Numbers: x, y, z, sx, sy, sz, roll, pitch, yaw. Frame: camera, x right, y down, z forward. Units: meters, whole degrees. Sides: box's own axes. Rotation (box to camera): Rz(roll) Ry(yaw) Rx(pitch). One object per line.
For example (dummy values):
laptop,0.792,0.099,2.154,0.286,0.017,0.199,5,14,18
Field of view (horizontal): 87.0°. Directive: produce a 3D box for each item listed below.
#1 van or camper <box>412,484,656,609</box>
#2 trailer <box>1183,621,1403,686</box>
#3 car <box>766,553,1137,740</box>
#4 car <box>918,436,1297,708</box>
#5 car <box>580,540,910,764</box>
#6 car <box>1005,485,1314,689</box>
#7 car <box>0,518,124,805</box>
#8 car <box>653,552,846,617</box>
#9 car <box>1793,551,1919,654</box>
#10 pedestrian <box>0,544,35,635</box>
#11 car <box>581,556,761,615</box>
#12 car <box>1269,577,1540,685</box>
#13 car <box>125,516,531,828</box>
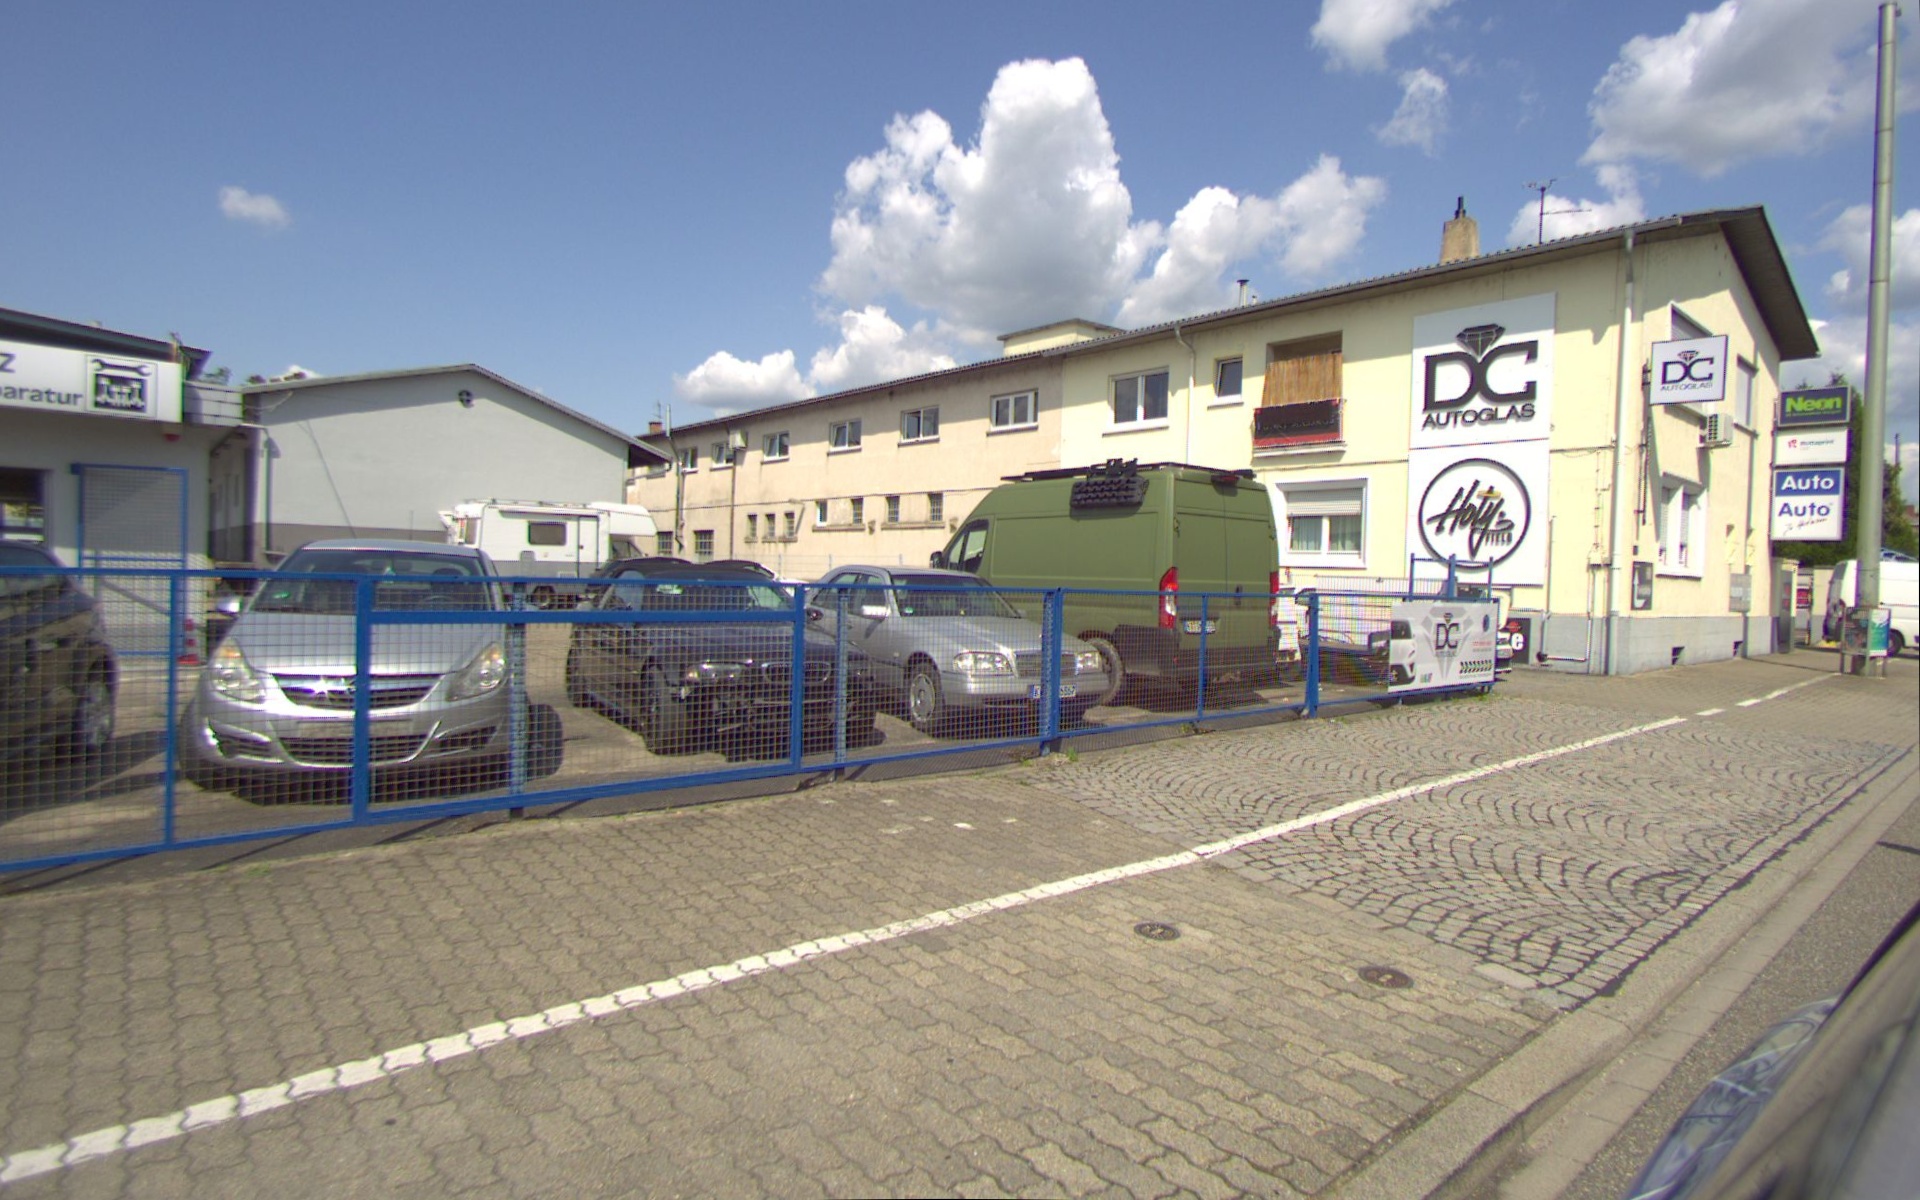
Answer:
van or camper,-11.297,-1.323,27.108,5.556,3.002,2.272,0,2,-42
trailer,4.756,0.726,14.647,1.307,0.674,2.730,0,2,-42
car,-0.332,0.288,10.200,1.679,1.470,4.292,1,2,-33
car,1.594,-0.349,12.253,2.075,2.675,4.208,1,2,-39
car,-2.122,0.275,8.894,1.737,1.470,4.128,1,2,-28
car,2.627,-0.228,14.222,1.557,2.436,4.208,1,2,-39
car,-5.649,0.304,4.876,1.606,1.470,3.700,1,2,-25
car,-4.837,-0.347,23.545,4.112,1.378,1.645,0,2,-41
car,25.276,0.126,25.871,5.805,2.493,2.067,5,3,35
pedestrian,-13.155,-0.156,13.879,0.652,1.224,0.566,1,1,-39
car,-7.300,-0.357,25.808,4.112,1.378,1.645,0,2,-41
car,7.170,0.425,16.634,1.527,1.481,3.775,1,2,-39
car,-3.892,0.282,6.837,1.736,1.470,3.778,1,2,-24
